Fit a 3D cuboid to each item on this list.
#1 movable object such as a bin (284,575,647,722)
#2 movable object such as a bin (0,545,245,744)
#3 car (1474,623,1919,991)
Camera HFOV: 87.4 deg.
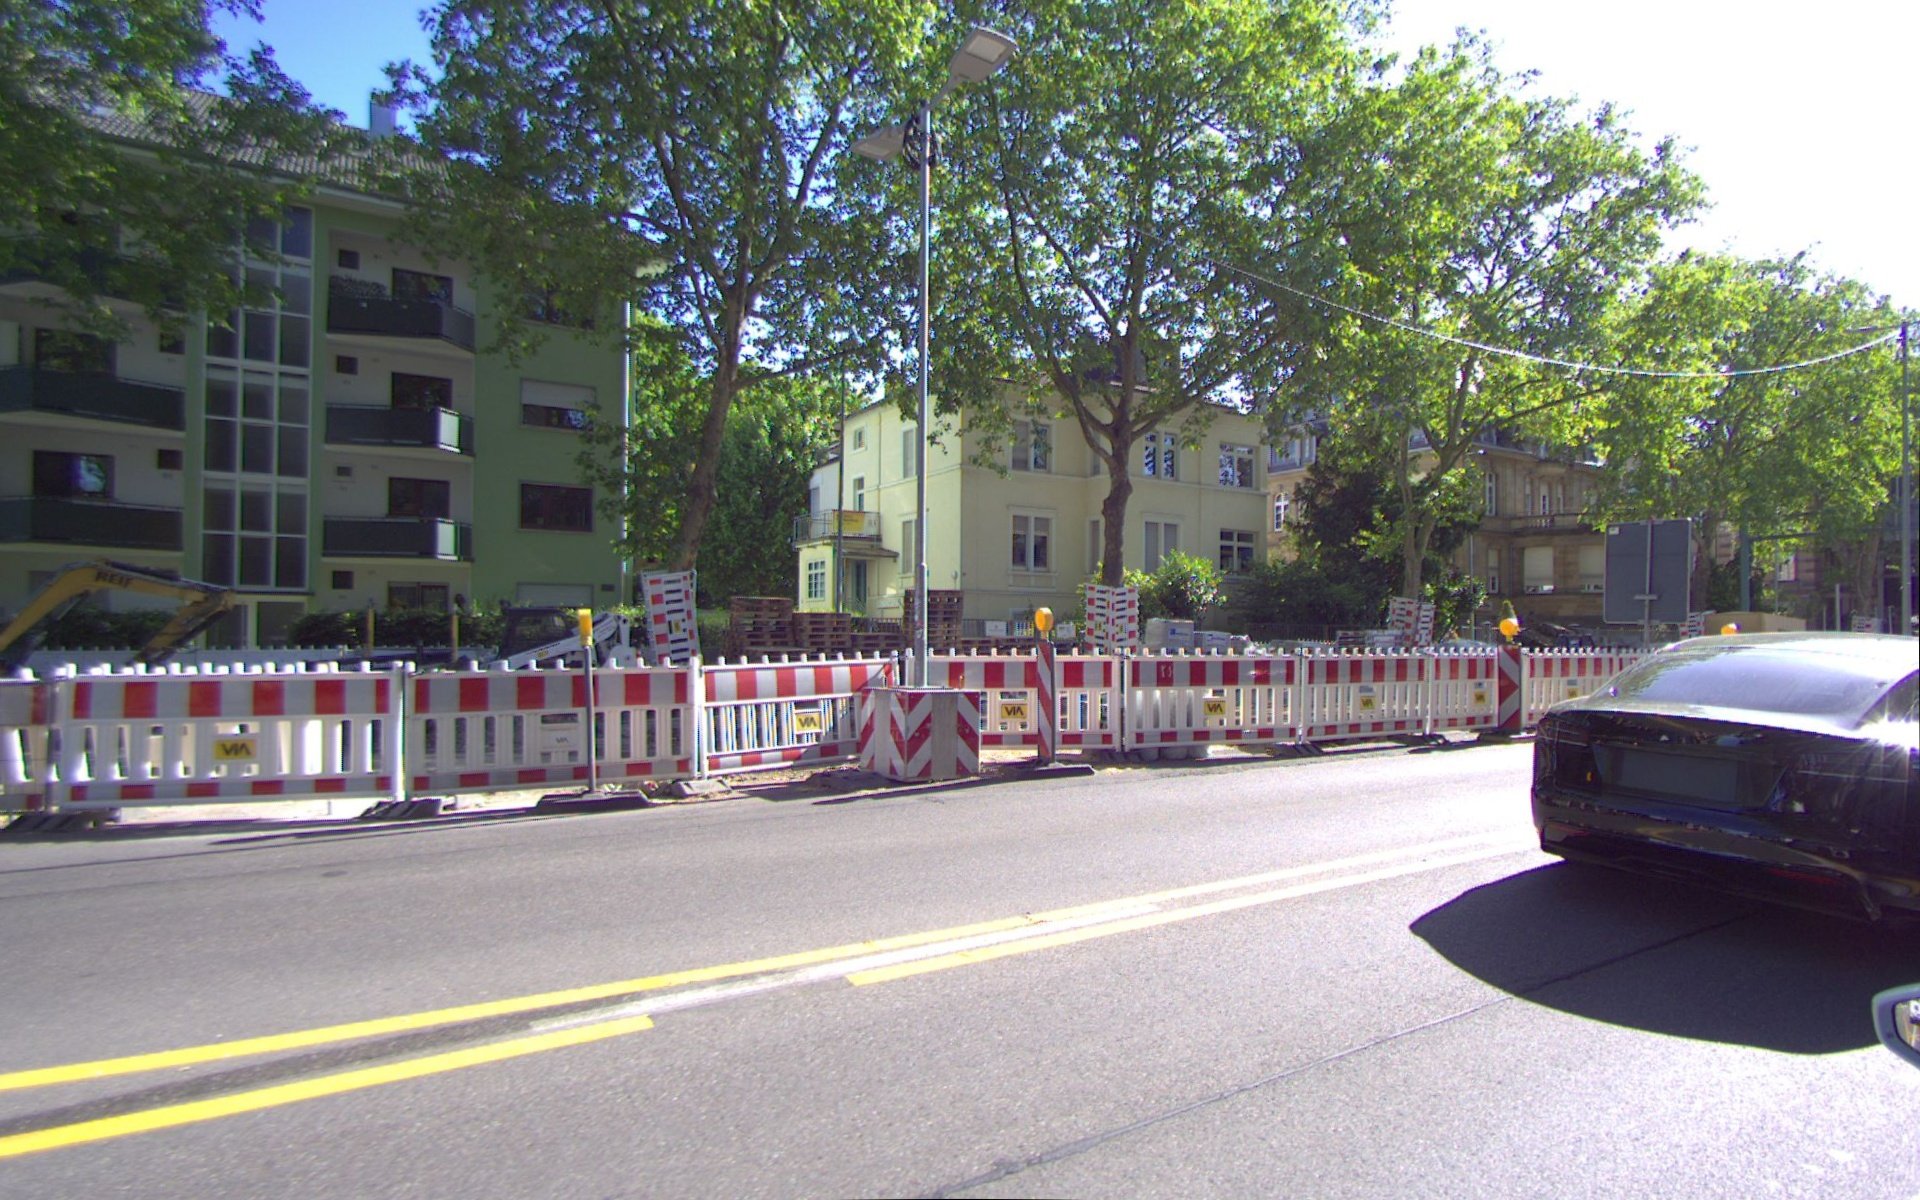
[{"bbox_3d":[-8.680,0.868,18.058,5.531,2.308,1.985,2,-2,-29],"label":"movable object such as a bin"},{"bbox_3d":[-13.799,0.618,14.715,5.301,2.742,2.133,2,-1,-35],"label":"movable object such as a bin"},{"bbox_3d":[5.314,0.892,6.028,4.575,1.430,1.914,1,0,-32],"label":"car"}]
